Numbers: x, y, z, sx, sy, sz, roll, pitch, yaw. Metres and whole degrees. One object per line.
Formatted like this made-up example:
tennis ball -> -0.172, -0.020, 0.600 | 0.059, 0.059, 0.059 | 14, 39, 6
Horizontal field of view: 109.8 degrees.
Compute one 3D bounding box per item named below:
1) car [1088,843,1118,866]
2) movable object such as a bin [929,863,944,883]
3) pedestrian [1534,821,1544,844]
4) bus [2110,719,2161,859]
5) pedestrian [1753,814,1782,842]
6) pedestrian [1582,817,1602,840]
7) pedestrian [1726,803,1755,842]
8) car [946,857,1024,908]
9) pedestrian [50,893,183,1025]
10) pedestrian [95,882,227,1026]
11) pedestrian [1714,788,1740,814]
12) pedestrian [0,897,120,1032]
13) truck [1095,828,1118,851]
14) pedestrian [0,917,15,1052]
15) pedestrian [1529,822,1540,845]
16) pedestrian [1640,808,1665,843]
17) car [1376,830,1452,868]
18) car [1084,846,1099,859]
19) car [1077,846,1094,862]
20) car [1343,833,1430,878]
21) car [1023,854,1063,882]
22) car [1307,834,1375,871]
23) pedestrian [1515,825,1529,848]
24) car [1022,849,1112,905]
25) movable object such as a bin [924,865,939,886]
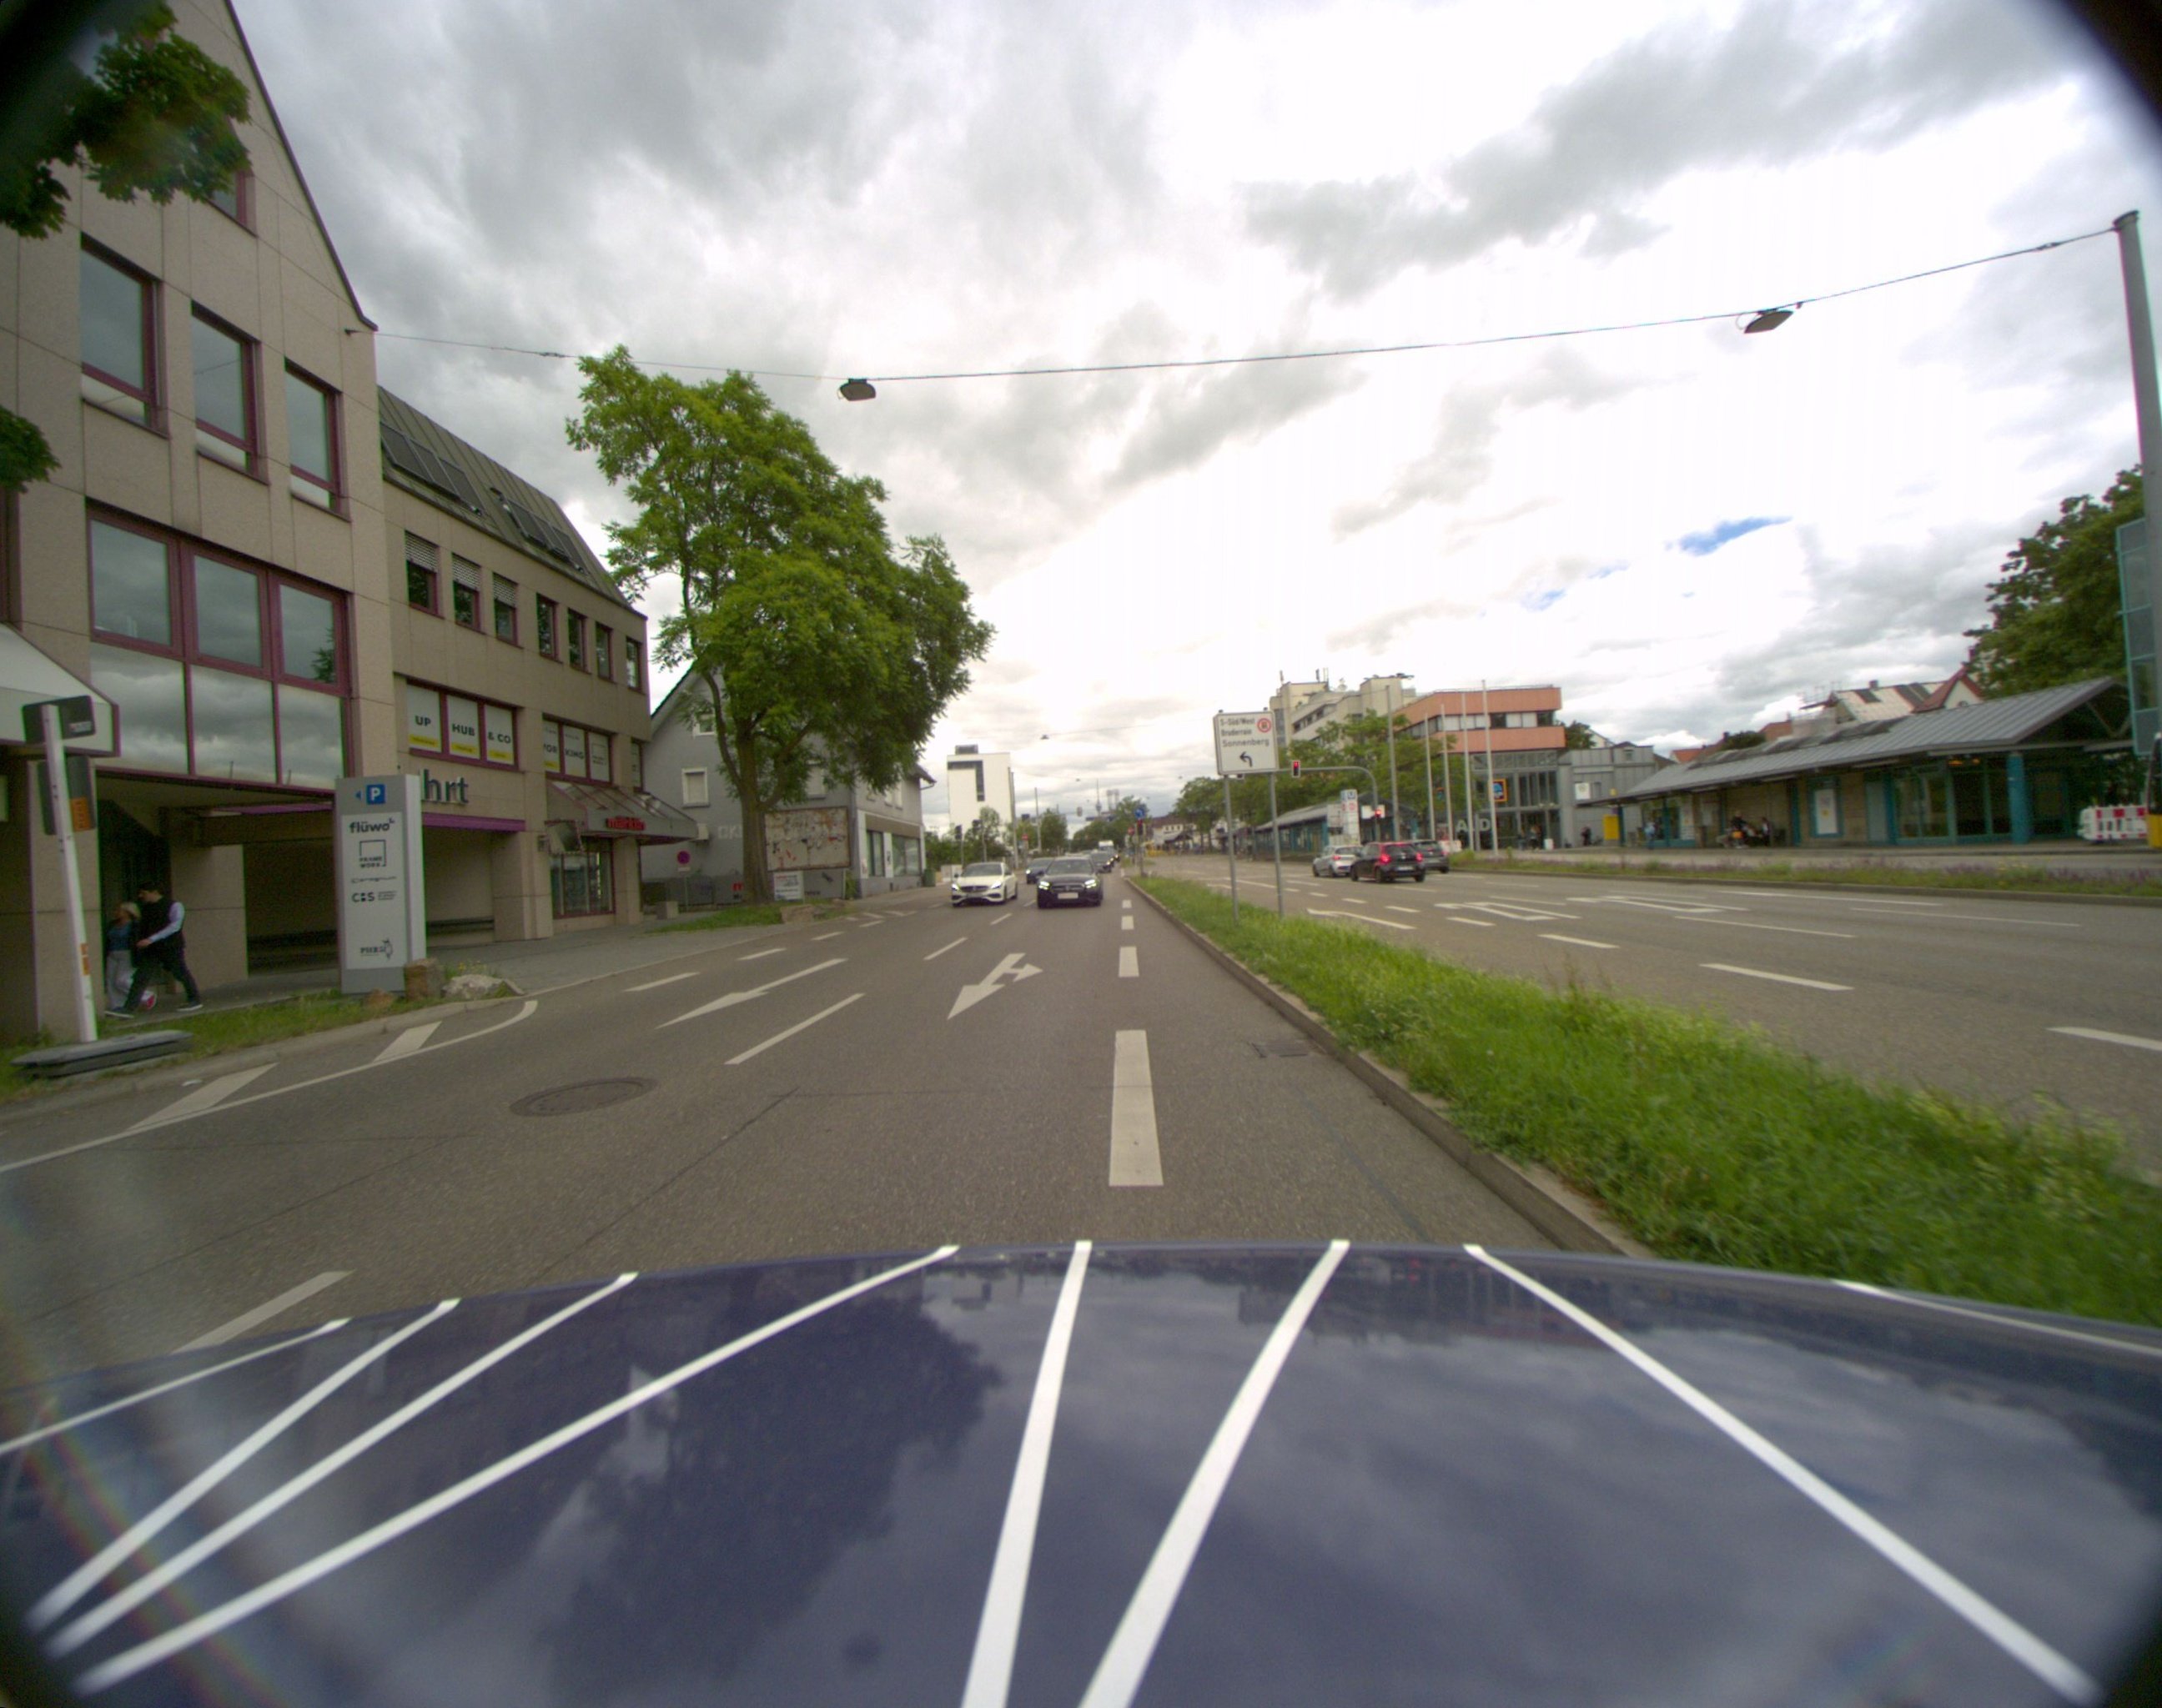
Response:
car -> 1.658, 0.006, 58.262 | 1.972, 1.631, 4.310 | -2, 0, -3
movable object such as a bin -> -8.191, 1.084, 43.100 | 0.627, 1.098, 0.710 | -3, 1, 2
pedestrian -> 31.655, -1.483, 52.496 | 0.486, 1.539, 0.382 | -4, 1, -42
bus -> 24.971, -1.505, 12.879 | 2.781, 3.114, 9.441 | -5, 0, 6
pedestrian -> 28.891, -1.094, 31.970 | 0.621, 1.114, 0.658 | -3, 1, 4
pedestrian -> 33.459, -1.682, 49.734 | 0.591, 1.452, 0.992 | -3, 1, 2
pedestrian -> 28.511, -1.352, 32.853 | 0.621, 1.640, 0.658 | -3, 1, 4
car -> -3.263, 0.937, 26.801 | 1.798, 1.464, 4.700 | -3, 1, 4
pedestrian -> -13.136, 1.400, 10.380 | 0.659, 1.681, 0.843 | -1, 1, 3
pedestrian -> -12.327, 1.309, 10.207 | 0.659, 1.816, 0.843 | -1, 1, 3
pedestrian -> 29.170, -2.370, 34.317 | 0.621, 1.114, 0.658 | -3, 1, 4
pedestrian -> -13.916, 1.462, 10.282 | 0.659, 1.681, 0.843 | -1, 1, 3
truck -> 3.936, -2.238, 119.713 | 3.119, 3.209, 6.523 | -3, 0, -2
pedestrian -> -12.780, 1.519, 8.612 | 0.562, 1.541, 0.544 | -1, 1, 3
pedestrian -> 31.082, -1.434, 52.038 | 0.485, 1.539, 0.383 | -4, 1, -23
pedestrian -> 27.221, -1.343, 36.200 | 0.621, 1.640, 0.658 | -3, 1, 4
car -> 14.909, -0.254, 34.266 | 1.819, 1.499, 4.000 | -3, 1, 4
car -> 1.492, -0.260, 107.935 | 2.020, 1.760, 4.000 | -3, 0, 1
car -> 0.461, 0.007, 81.376 | 1.763, 1.625, 4.155 | -2, 0, 0
car -> 11.354, 0.010, 28.489 | 1.663, 1.499, 3.768 | -3, 1, 0
car -> -2.177, 0.795, 44.962 | 1.798, 1.464, 4.311 | -4, 0, 4
car -> 11.734, -0.057, 34.540 | 1.749, 1.456, 3.790 | -3, 0, 0
pedestrian -> 30.428, -1.231, 52.438 | 0.530, 1.539, 0.754 | -3, 1, 5
car -> -0.306, 0.638, 24.079 | 2.057, 1.477, 4.975 | -3, 0, 8
movable object such as a bin -> -8.304, 1.204, 42.302 | 0.610, 1.098, 0.710 | -3, 1, 2
